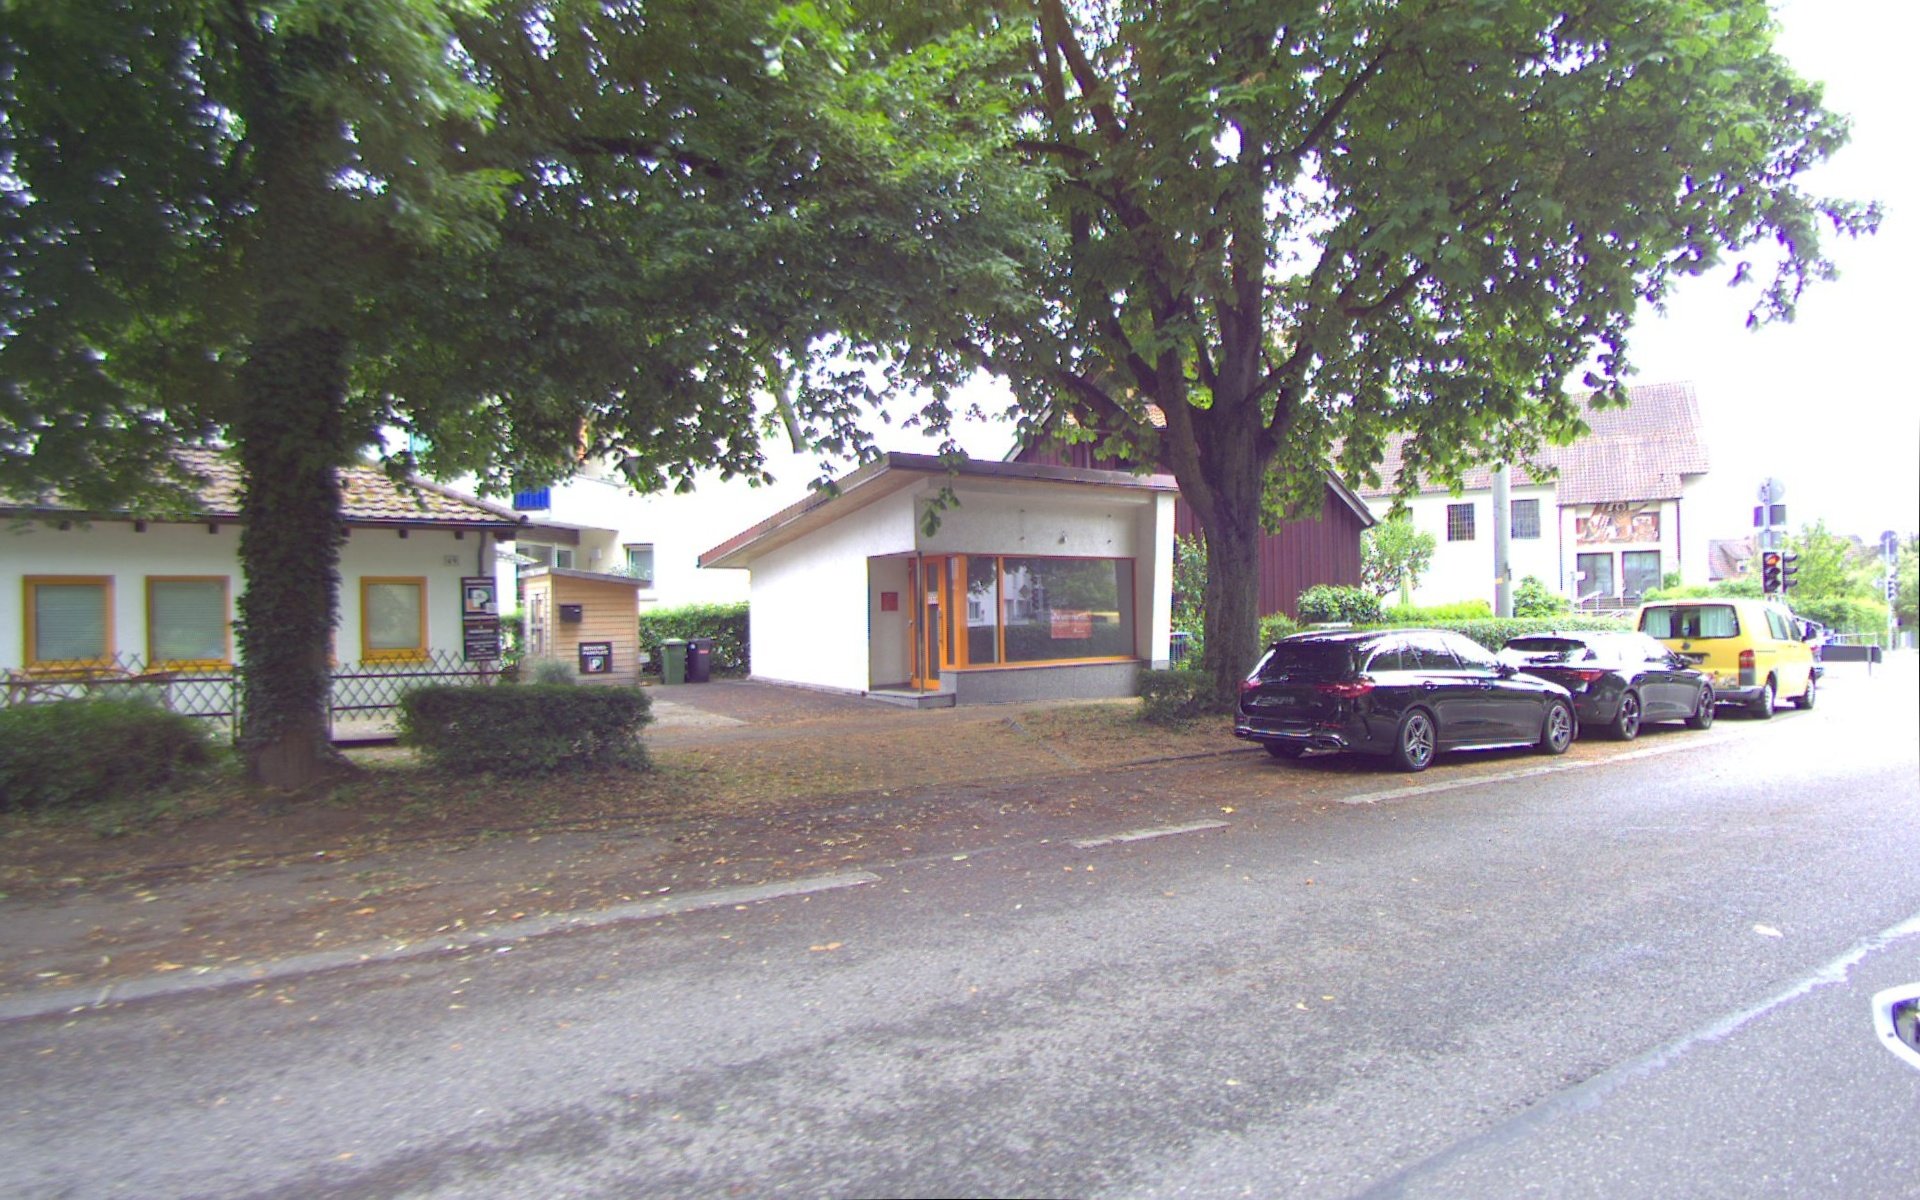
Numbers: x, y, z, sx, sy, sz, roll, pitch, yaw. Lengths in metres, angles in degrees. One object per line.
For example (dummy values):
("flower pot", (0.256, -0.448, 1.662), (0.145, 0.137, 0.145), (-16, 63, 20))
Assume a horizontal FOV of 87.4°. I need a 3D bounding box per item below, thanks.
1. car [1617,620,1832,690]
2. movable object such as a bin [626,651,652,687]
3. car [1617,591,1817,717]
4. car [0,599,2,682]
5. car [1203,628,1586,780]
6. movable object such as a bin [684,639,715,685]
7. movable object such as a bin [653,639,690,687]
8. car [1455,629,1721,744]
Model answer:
("car", (18.955, 1.317, 25.051), (1.784, 1.530, 3.956), (-1, 0, -39))
("movable object such as a bin", (-6.628, 1.415, 20.714), (0.424, 0.705, 0.385), (0, 0, -35))
("car", (13.620, 0.941, 17.980), (4.466, 1.989, 1.843), (2, -3, -39))
("car", (-17.187, 0.729, 16.380), (1.718, 1.530, 3.959), (1, 0, -36))
("car", (5.054, 1.058, 11.493), (4.506, 1.429, 1.881), (1, -3, -34))
("movable object such as a bin", (-5.522, 1.303, 21.278), (0.483, 0.942, 0.520), (0, 0, -35))
("movable object such as a bin", (-6.014, 1.302, 20.936), (0.612, 0.942, 0.519), (0, 0, -35))
("car", (9.169, 1.157, 14.573), (4.147, 1.434, 1.783), (1, -2, -35))
